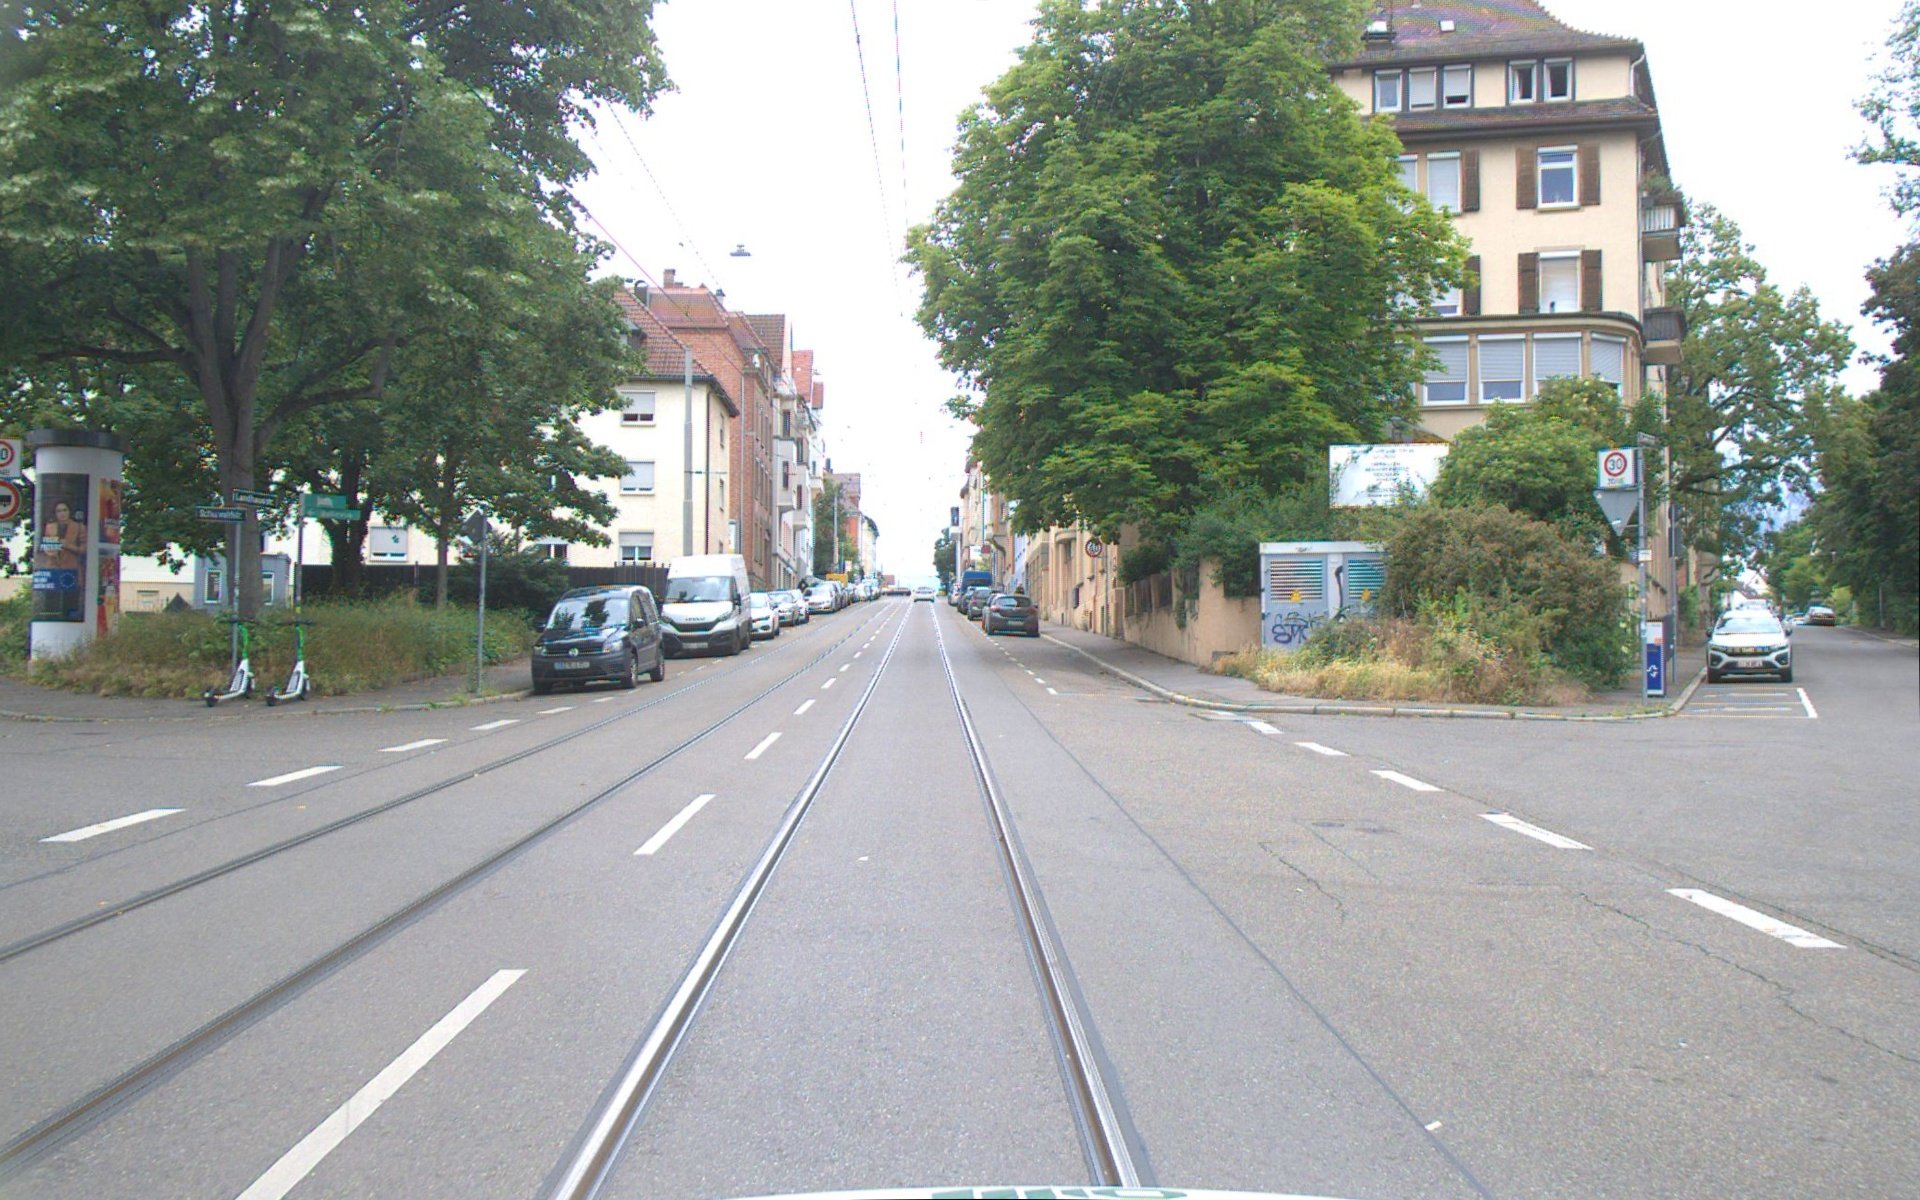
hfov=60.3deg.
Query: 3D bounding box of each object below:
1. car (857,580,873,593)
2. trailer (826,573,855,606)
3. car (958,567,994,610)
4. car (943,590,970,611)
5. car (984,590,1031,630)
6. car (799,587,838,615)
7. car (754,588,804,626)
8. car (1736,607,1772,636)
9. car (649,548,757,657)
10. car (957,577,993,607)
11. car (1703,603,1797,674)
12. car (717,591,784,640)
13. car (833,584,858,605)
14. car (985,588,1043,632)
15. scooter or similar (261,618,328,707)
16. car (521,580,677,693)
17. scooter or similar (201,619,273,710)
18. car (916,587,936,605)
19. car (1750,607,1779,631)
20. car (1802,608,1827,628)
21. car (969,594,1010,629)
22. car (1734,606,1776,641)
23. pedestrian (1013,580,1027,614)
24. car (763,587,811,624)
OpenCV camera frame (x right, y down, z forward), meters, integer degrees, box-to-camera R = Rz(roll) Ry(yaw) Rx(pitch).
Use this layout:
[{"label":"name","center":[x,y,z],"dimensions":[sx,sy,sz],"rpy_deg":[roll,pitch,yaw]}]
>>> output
[{"label":"car","center":[-10.611,-1.497,184.438],"dimensions":[1.663,1.458,4.479],"rpy_deg":[-2,0,-3]},{"label":"trailer","center":[-8.313,-0.757,115.588],"dimensions":[1.713,2.193,4.071],"rpy_deg":[-2,1,-1]},{"label":"car","center":[0.931,-0.651,97.885],"dimensions":[1.953,2.418,5.055],"rpy_deg":[1,0,-1]},{"label":"car","center":[-0.260,0.048,119.959],"dimensions":[1.715,1.415,4.306],"rpy_deg":[2,0,-2]},{"label":"car","center":[1.835,0.380,65.301],"dimensions":[1.661,1.428,3.667],"rpy_deg":[2,1,-1]},{"label":"car","center":[-7.807,0.036,91.605],"dimensions":[1.790,1.454,4.839],"rpy_deg":[-2,1,-1]},{"label":"car","center":[-7.393,0.278,67.757],"dimensions":[1.568,1.392,3.807],"rpy_deg":[-3,1,0]},{"label":"car","center":[44.286,1.201,92.191],"dimensions":[1.710,1.568,3.783],"rpy_deg":[-2,-1,27]},{"label":"car","center":[-6.835,0.020,44.685],"dimensions":[2.115,2.652,6.216],"rpy_deg":[-3,1,-3]},{"label":"car","center":[0.797,-0.450,92.535],"dimensions":[1.744,1.557,4.191],"rpy_deg":[4,0,-2]},{"label":"car","center":[18.431,0.865,38.496],"dimensions":[1.805,1.561,4.498],"rpy_deg":[0,-1,28]},{"label":"car","center":[-6.820,0.476,54.256],"dimensions":[1.684,1.427,4.312],"rpy_deg":[-3,1,-1]},{"label":"car","center":[-8.789,-0.440,127.221],"dimensions":[1.662,1.494,3.023],"rpy_deg":[-2,0,-1]},{"label":"car","center":[1.876,0.352,58.955],"dimensions":[1.802,1.427,4.166],"rpy_deg":[2,0,-1]},{"label":"scooter or similar","center":[-9.538,0.873,23.751],"dimensions":[0.305,1.165,1.717],"rpy_deg":[1,2,-1]},{"label":"car","center":[-6.473,0.605,30.164],"dimensions":[1.726,1.806,4.668],"rpy_deg":[-3,0,0]},{"label":"scooter or similar","center":[-10.267,0.896,23.532],"dimensions":[0.305,1.165,1.717],"rpy_deg":[1,2,-1]},{"label":"car","center":[-3.007,-0.350,145.674],"dimensions":[1.638,1.539,3.796],"rpy_deg":[0,0,-2]},{"label":"car","center":[54.481,1.287,112.006],"dimensions":[1.710,1.568,3.783],"rpy_deg":[-2,-1,27]},{"label":"car","center":[69.009,1.485,133.617],"dimensions":[1.710,1.568,3.783],"rpy_deg":[-2,-1,27]},{"label":"car","center":[1.402,0.551,80.225],"dimensions":[1.790,1.545,4.027],"rpy_deg":[2,1,-1]},{"label":"car","center":[37.732,1.105,78.490],"dimensions":[1.710,1.568,3.783],"rpy_deg":[-2,-1,27]},{"label":"pedestrian","center":[3.150,-0.166,86.382],"dimensions":[0.530,1.711,0.515],"rpy_deg":[-4,-2,-10]},{"label":"car","center":[-7.532,0.221,72.321],"dimensions":[1.791,1.453,4.625],"rpy_deg":[-3,1,-3]}]
